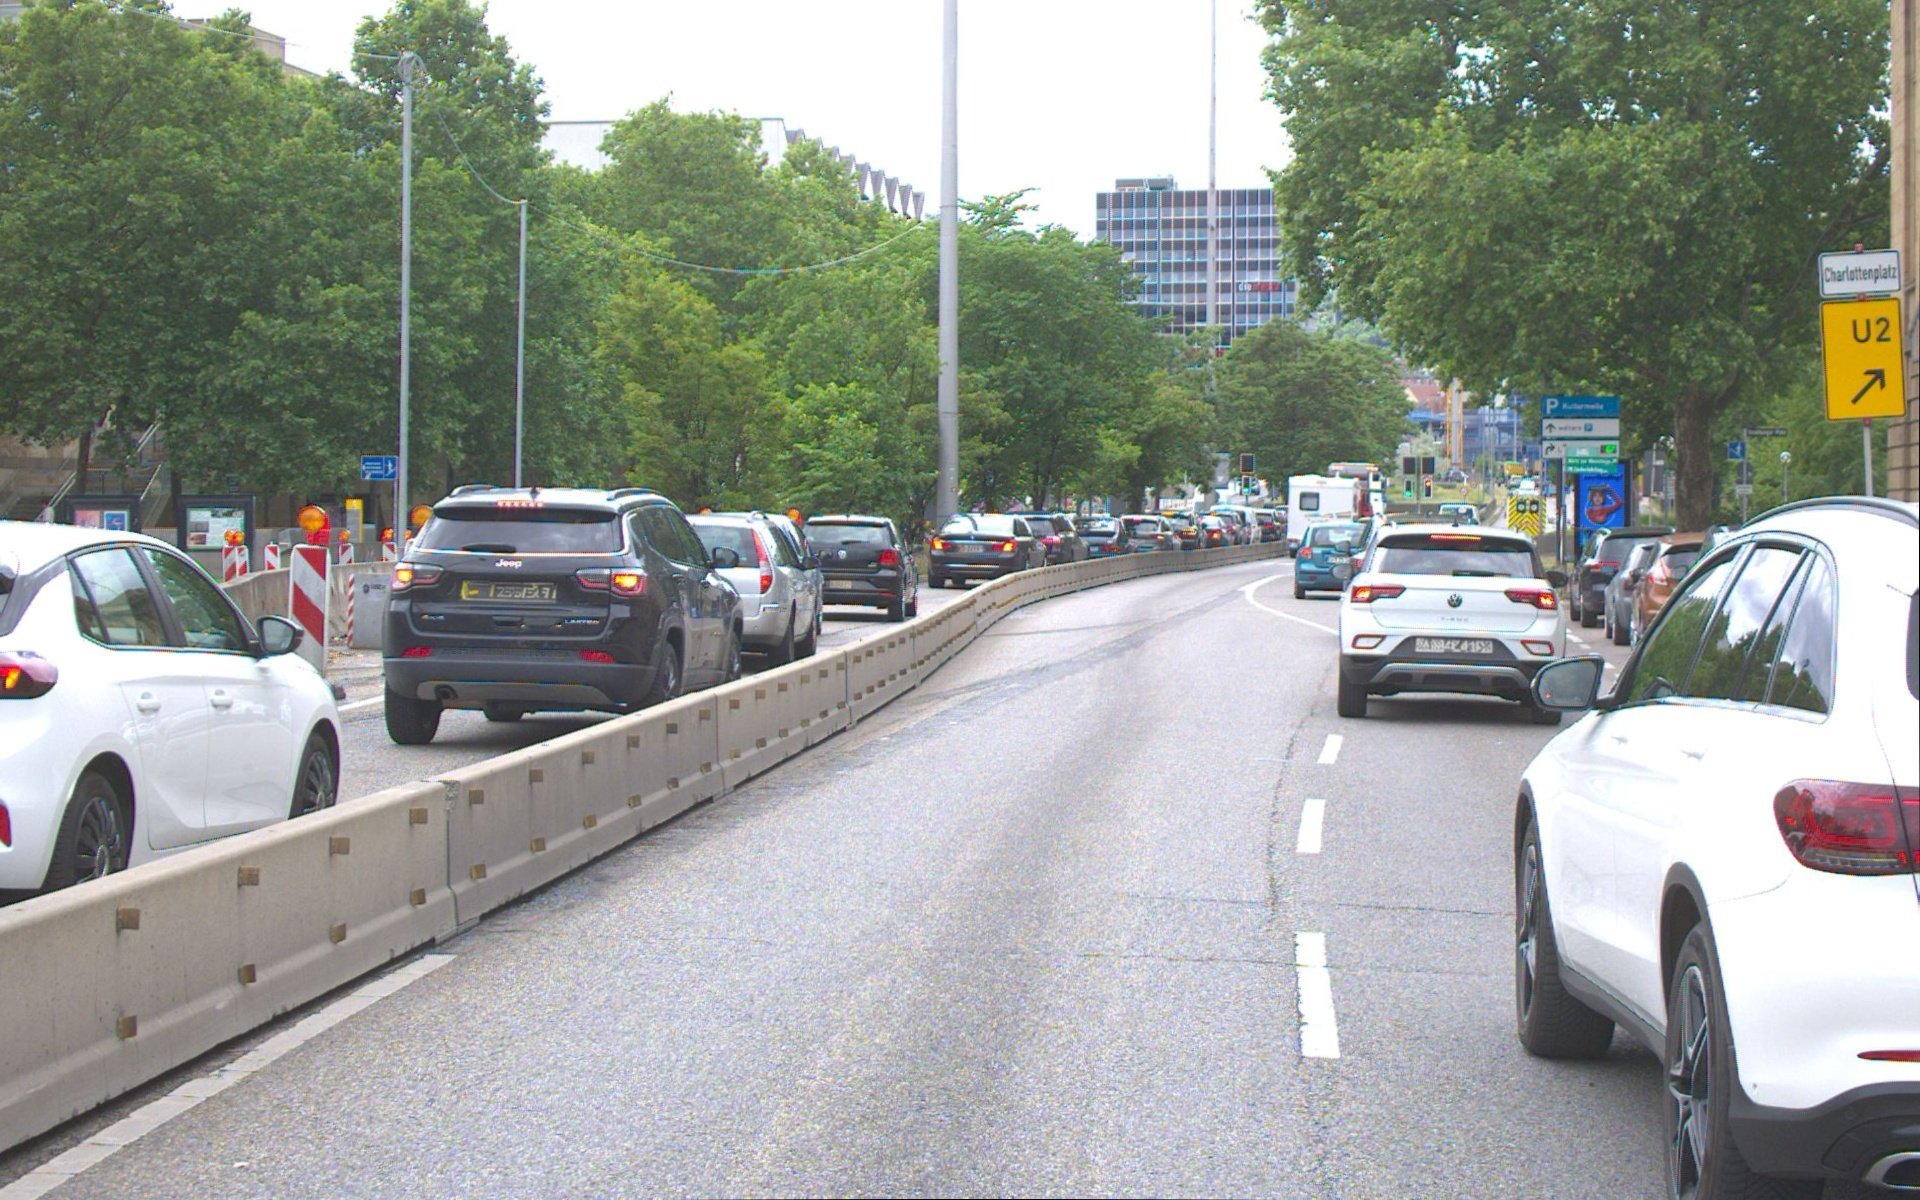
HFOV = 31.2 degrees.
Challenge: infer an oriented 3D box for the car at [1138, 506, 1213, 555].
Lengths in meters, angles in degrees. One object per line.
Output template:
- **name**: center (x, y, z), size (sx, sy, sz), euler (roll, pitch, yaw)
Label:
- **car**: center (6.505, -2.094, 103.483), size (1.777, 1.415, 3.999), euler (1, 2, 10)

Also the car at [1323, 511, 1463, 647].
- **car**: center (5.497, -0.305, 43.714), size (1.659, 1.633, 3.546), euler (1, 2, 7)

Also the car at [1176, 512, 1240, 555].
- **car**: center (8.026, -2.156, 111.213), size (1.660, 1.315, 3.546), euler (2, 1, 10)

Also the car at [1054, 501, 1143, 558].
- **car**: center (3.504, -1.781, 86.377), size (1.679, 1.362, 4.541), euler (1, 2, 9)

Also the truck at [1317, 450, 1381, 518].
- **truck**: center (18.530, -5.483, 163.498), size (2.693, 2.981, 5.636), euler (3, 1, 9)

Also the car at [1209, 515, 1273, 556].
- **car**: center (9.499, -2.182, 116.114), size (1.660, 1.315, 3.545), euler (2, 1, 13)

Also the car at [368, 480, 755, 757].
- **car**: center (-2.526, 0.076, 22.727), size (1.776, 1.615, 4.046), euler (2, 1, 4)

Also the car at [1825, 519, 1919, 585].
- **car**: center (23.186, -1.177, 84.023), size (3.837, 1.563, 1.678), euler (1, 1, 10)

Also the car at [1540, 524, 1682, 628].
- **car**: center (9.906, -0.397, 52.547), size (1.788, 1.481, 4.325), euler (2, 1, 7)

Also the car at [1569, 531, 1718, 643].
- **car**: center (9.048, -0.205, 45.733), size (1.709, 1.421, 3.996), euler (0, 1, 8)

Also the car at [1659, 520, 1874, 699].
- **car**: center (7.570, 0.046, 32.515), size (1.546, 1.546, 3.708), euler (-2, 1, 7)

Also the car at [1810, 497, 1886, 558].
- **car**: center (24.903, -2.047, 96.475), size (1.761, 1.546, 4.025), euler (1, 4, 11)

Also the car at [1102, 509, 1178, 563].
- **car**: center (5.009, -1.761, 95.407), size (1.662, 1.431, 3.959), euler (2, 1, 9)

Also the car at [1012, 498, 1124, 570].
- **car**: center (2.380, -1.454, 74.751), size (1.817, 1.494, 4.767), euler (1, 1, 9)

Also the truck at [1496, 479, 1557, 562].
- **truck**: center (29.184, -4.102, 177.385), size (2.878, 4.089, 6.636), euler (2, 2, 9)

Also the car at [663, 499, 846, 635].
- **car**: center (-2.402, -0.422, 41.036), size (1.672, 1.501, 3.854), euler (2, 1, 4)

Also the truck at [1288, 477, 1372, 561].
- **truck**: center (13.413, -2.947, 124.182), size (2.622, 2.851, 7.076), euler (2, 2, 9)

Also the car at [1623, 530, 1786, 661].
- **car**: center (8.711, -0.086, 40.456), size (1.616, 1.450, 3.857), euler (0, 1, 8)

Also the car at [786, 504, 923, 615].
- **car**: center (-1.435, -0.592, 48.231), size (1.659, 1.449, 4.198), euler (2, 1, 1)

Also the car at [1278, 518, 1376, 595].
- **car**: center (7.062, -0.841, 65.941), size (1.660, 1.408, 3.546), euler (2, 1, 9)

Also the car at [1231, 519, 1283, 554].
- **car**: center (11.653, -2.501, 134.815), size (1.660, 1.315, 3.546), euler (2, 1, 11)

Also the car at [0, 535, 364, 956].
- **car**: center (-3.574, 0.419, 12.849), size (1.726, 1.291, 3.935), euler (2, 1, 4)

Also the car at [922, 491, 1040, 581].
- **car**: center (0.442, -1.248, 66.677), size (1.924, 1.630, 4.936), euler (2, 1, 4)

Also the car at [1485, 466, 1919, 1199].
- **car**: center (2.447, 0.546, 8.428), size (1.788, 1.619, 4.437), euler (2, 1, 3)

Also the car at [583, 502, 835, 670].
- **car**: center (-2.366, -0.179, 33.537), size (1.878, 1.476, 4.704), euler (2, 1, 3)

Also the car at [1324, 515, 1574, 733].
- **car**: center (3.945, 0.137, 28.242), size (1.796, 1.603, 3.754), euler (1, 2, 5)

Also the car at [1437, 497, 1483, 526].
- **car**: center (23.998, -4.220, 164.938), size (1.948, 1.315, 4.015), euler (2, 1, 11)

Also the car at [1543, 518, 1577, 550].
- **car**: center (33.049, -3.639, 189.383), size (1.759, 1.663, 4.166), euler (1, 2, 10)
